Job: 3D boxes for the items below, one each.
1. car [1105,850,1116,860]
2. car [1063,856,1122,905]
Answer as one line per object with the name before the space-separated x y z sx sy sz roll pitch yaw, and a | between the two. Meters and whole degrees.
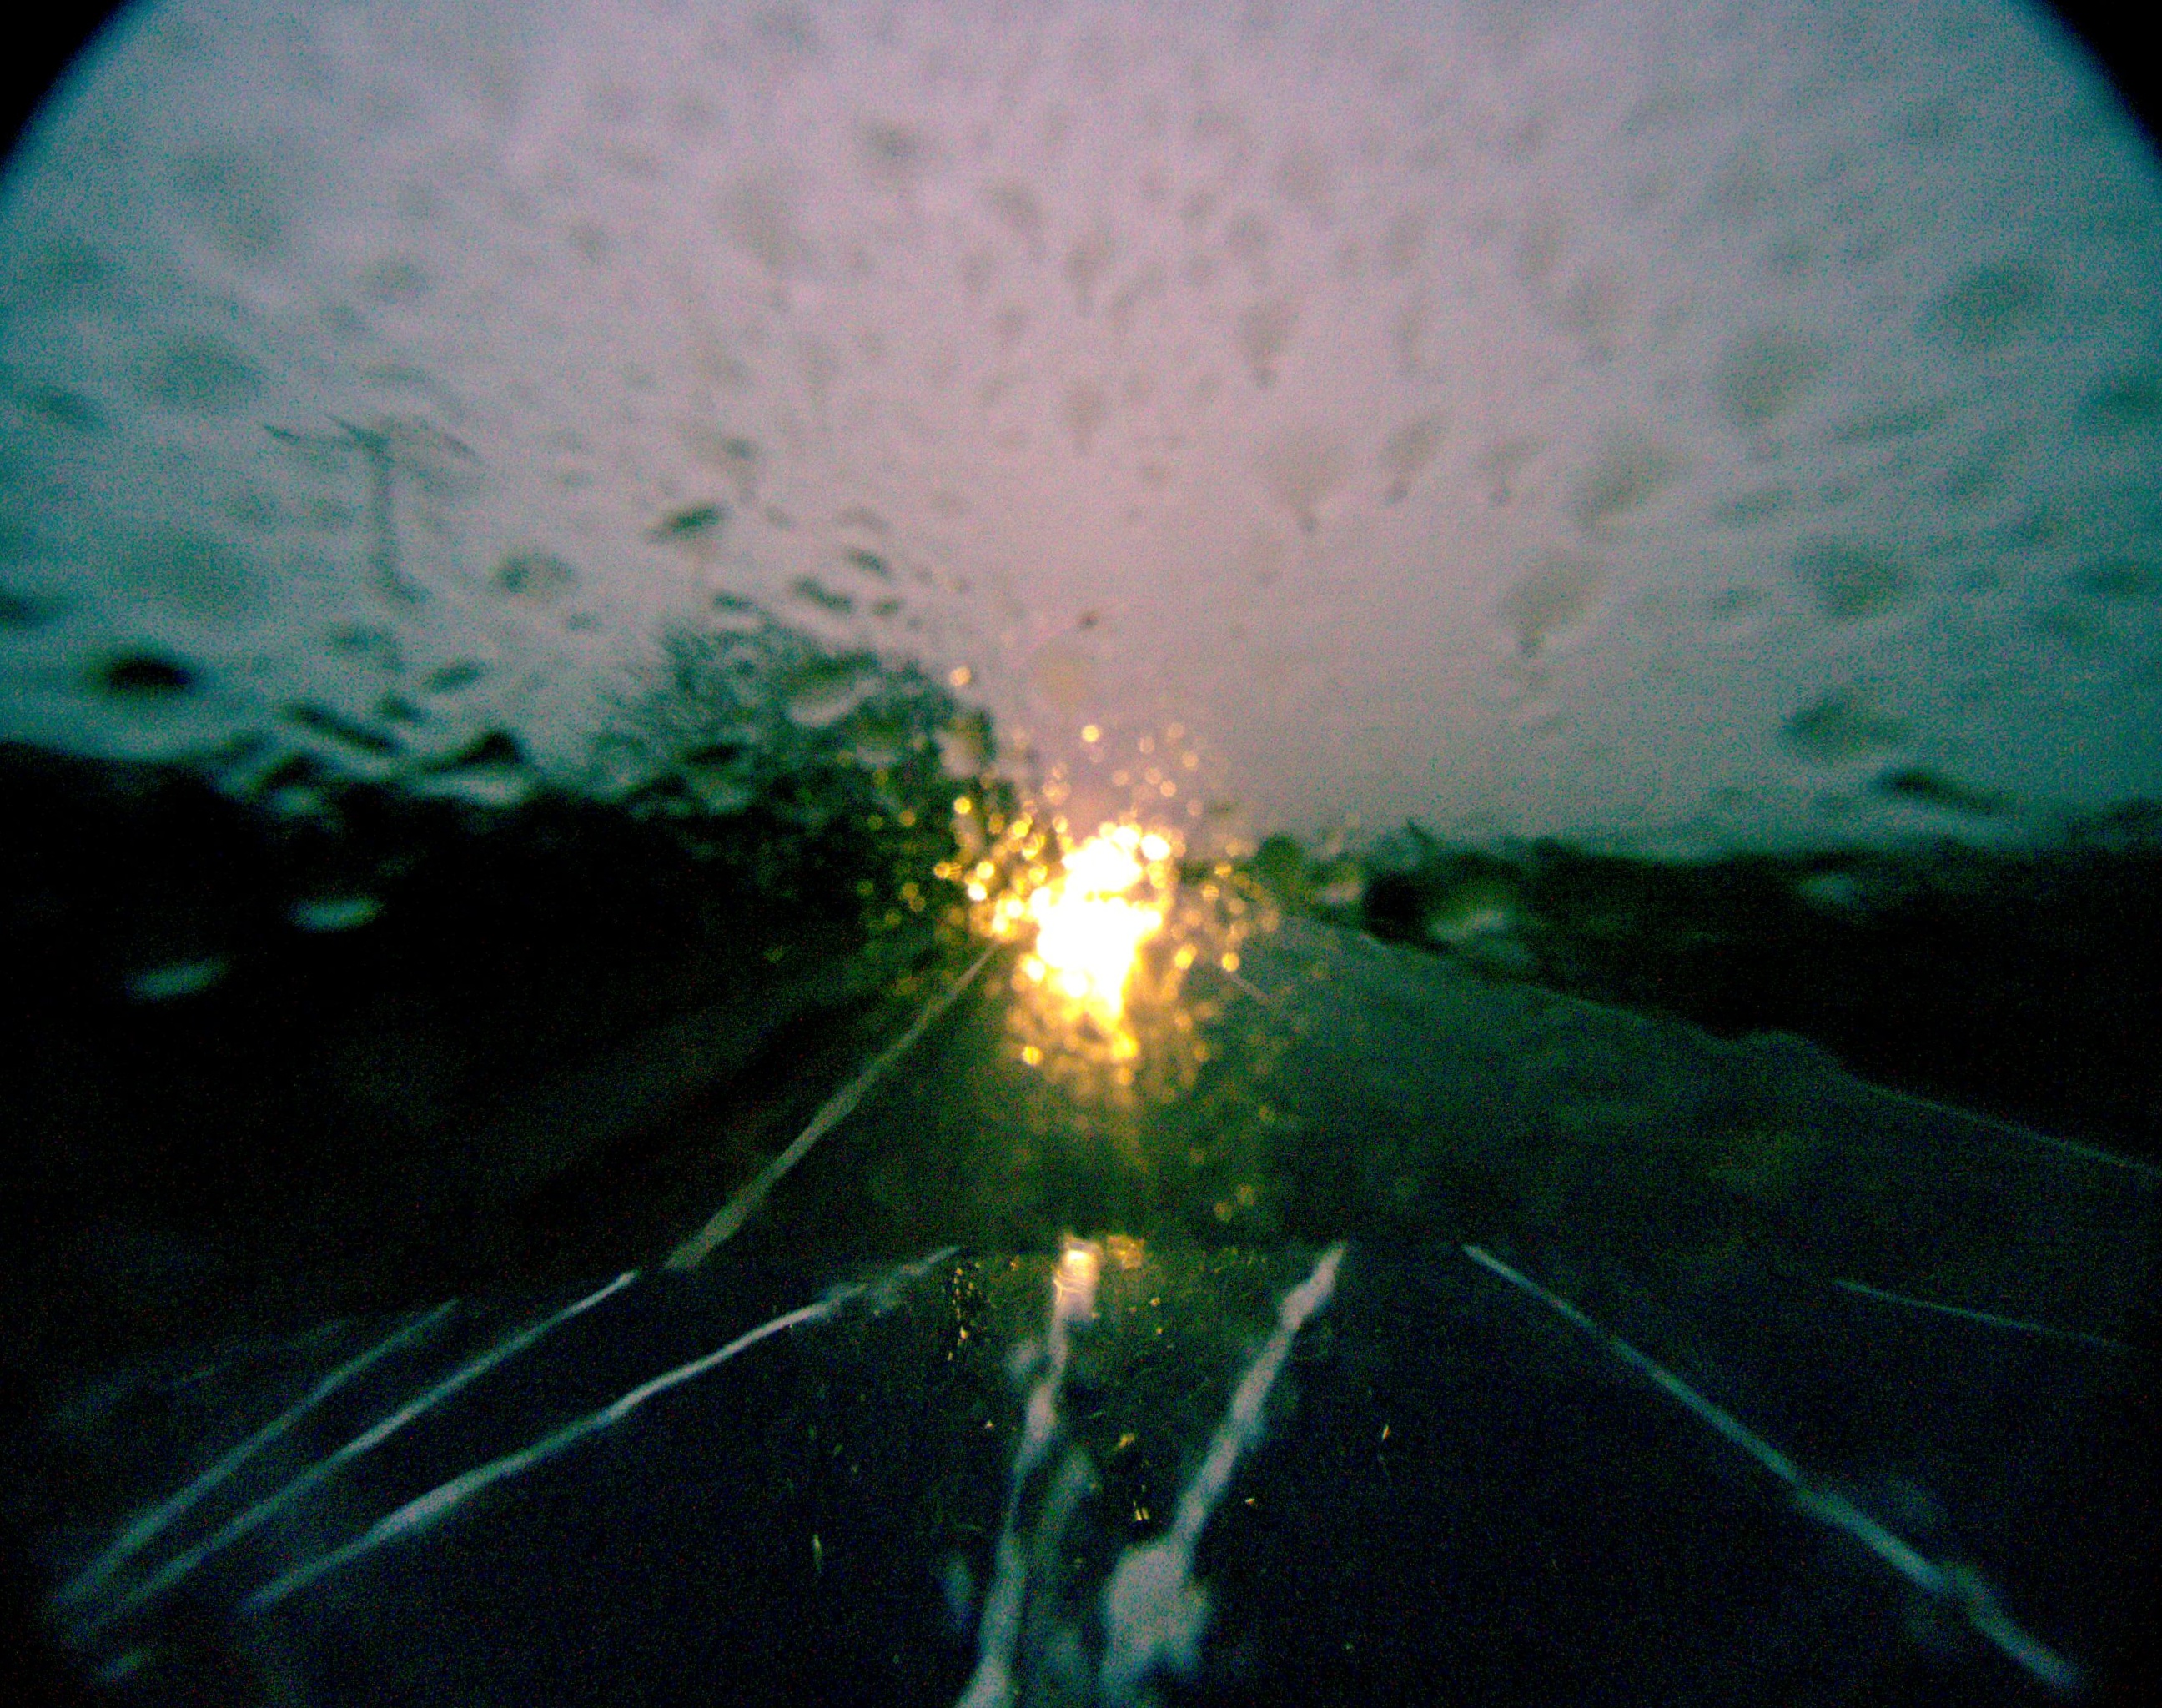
car | 5.331 0.243 139.609 1.844 1.711 3.956 -2 1 0
car | 0.381 0.878 26.638 1.844 1.484 3.956 -2 1 0
